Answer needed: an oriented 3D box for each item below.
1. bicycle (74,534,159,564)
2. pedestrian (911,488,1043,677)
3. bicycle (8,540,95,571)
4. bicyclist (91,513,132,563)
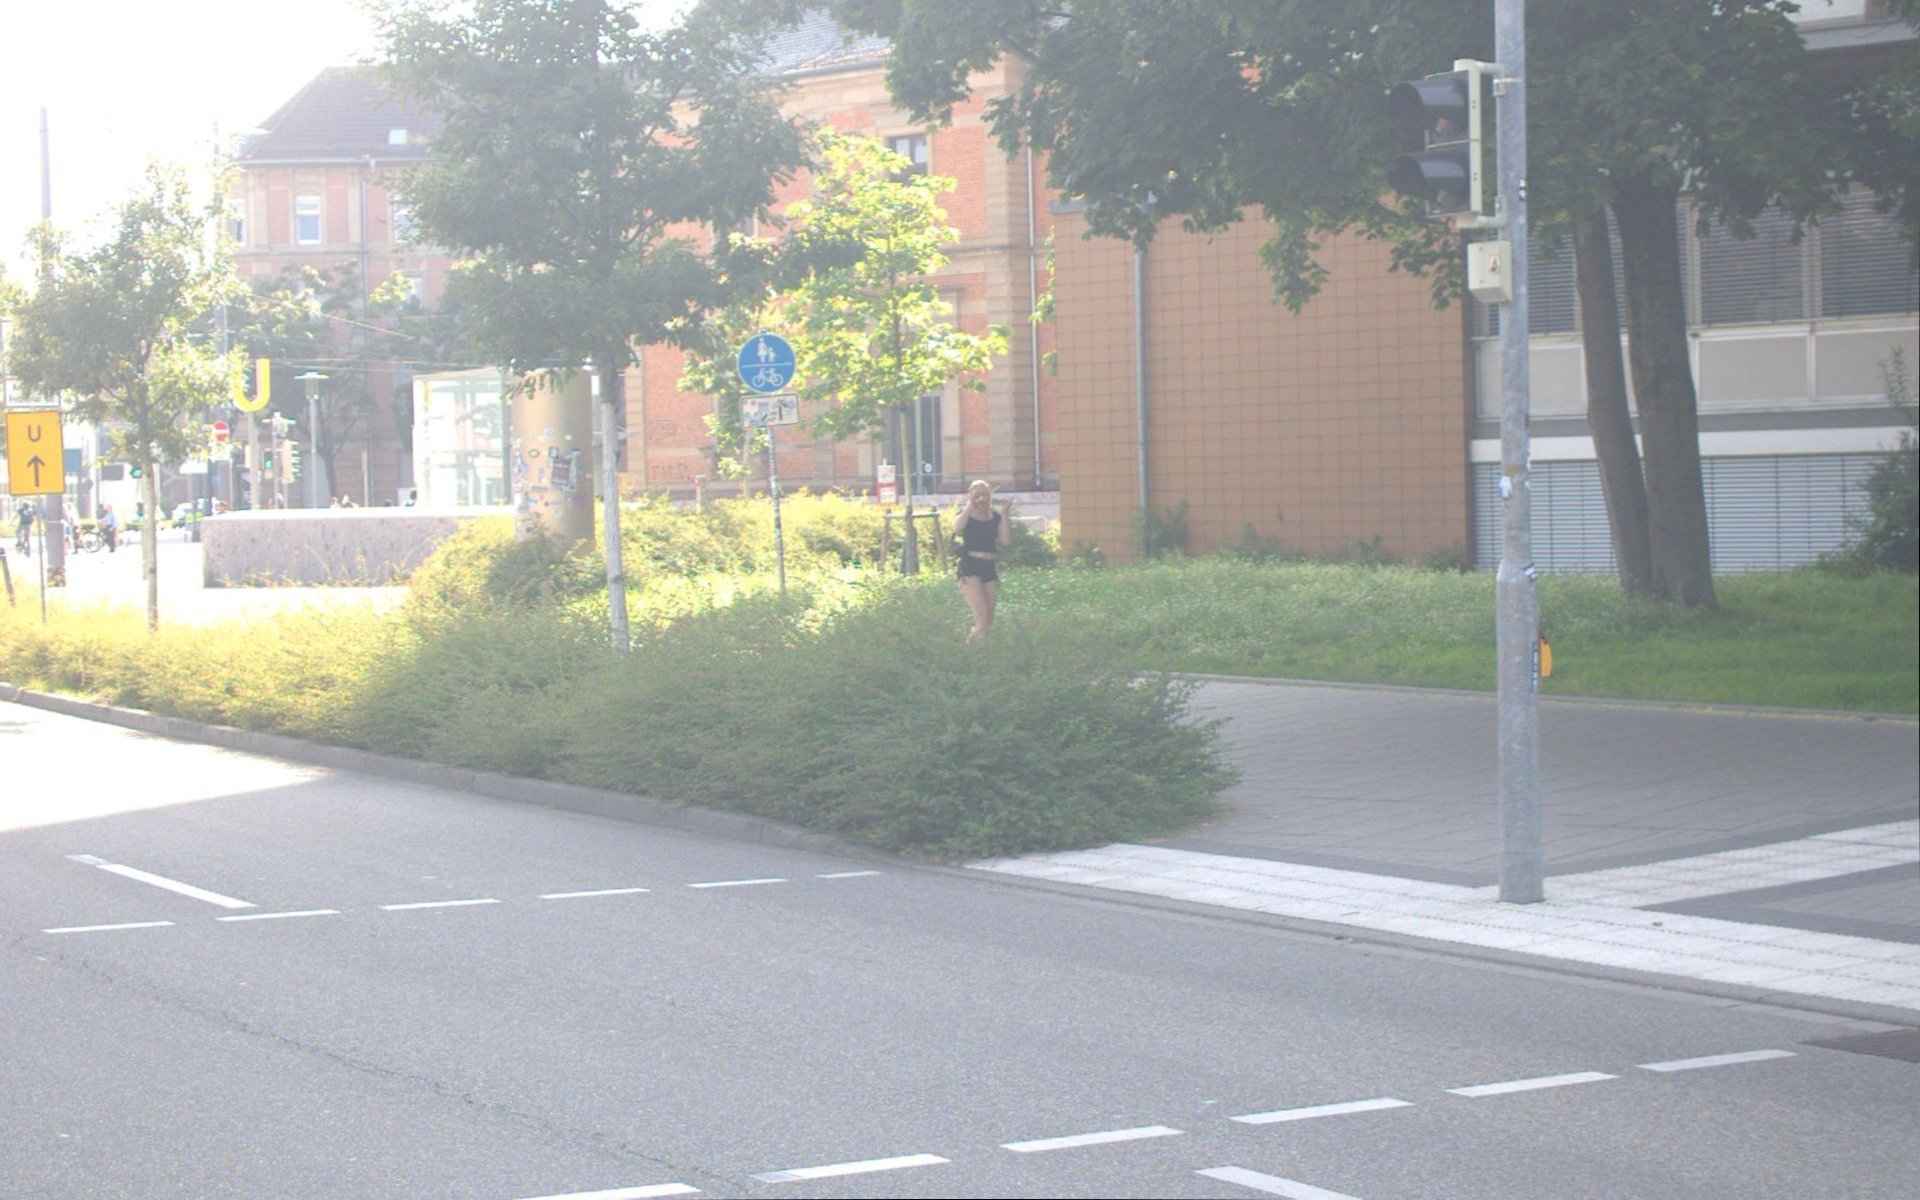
[{"bbox_3d":[-28.949,-1.758,118.017,2.620,0.961,1.092,-3,2,-44],"label":"bicycle"},{"bbox_3d":[0.129,-0.149,26.911,0.724,1.438,0.857,-2,2,-23],"label":"pedestrian"},{"bbox_3d":[-30.576,-1.511,115.761,2.620,0.961,1.092,-3,2,-44],"label":"bicycle"},{"bbox_3d":[-29.090,-2.117,117.867,0.934,1.674,1.092,-3,2,-44],"label":"bicyclist"}]
